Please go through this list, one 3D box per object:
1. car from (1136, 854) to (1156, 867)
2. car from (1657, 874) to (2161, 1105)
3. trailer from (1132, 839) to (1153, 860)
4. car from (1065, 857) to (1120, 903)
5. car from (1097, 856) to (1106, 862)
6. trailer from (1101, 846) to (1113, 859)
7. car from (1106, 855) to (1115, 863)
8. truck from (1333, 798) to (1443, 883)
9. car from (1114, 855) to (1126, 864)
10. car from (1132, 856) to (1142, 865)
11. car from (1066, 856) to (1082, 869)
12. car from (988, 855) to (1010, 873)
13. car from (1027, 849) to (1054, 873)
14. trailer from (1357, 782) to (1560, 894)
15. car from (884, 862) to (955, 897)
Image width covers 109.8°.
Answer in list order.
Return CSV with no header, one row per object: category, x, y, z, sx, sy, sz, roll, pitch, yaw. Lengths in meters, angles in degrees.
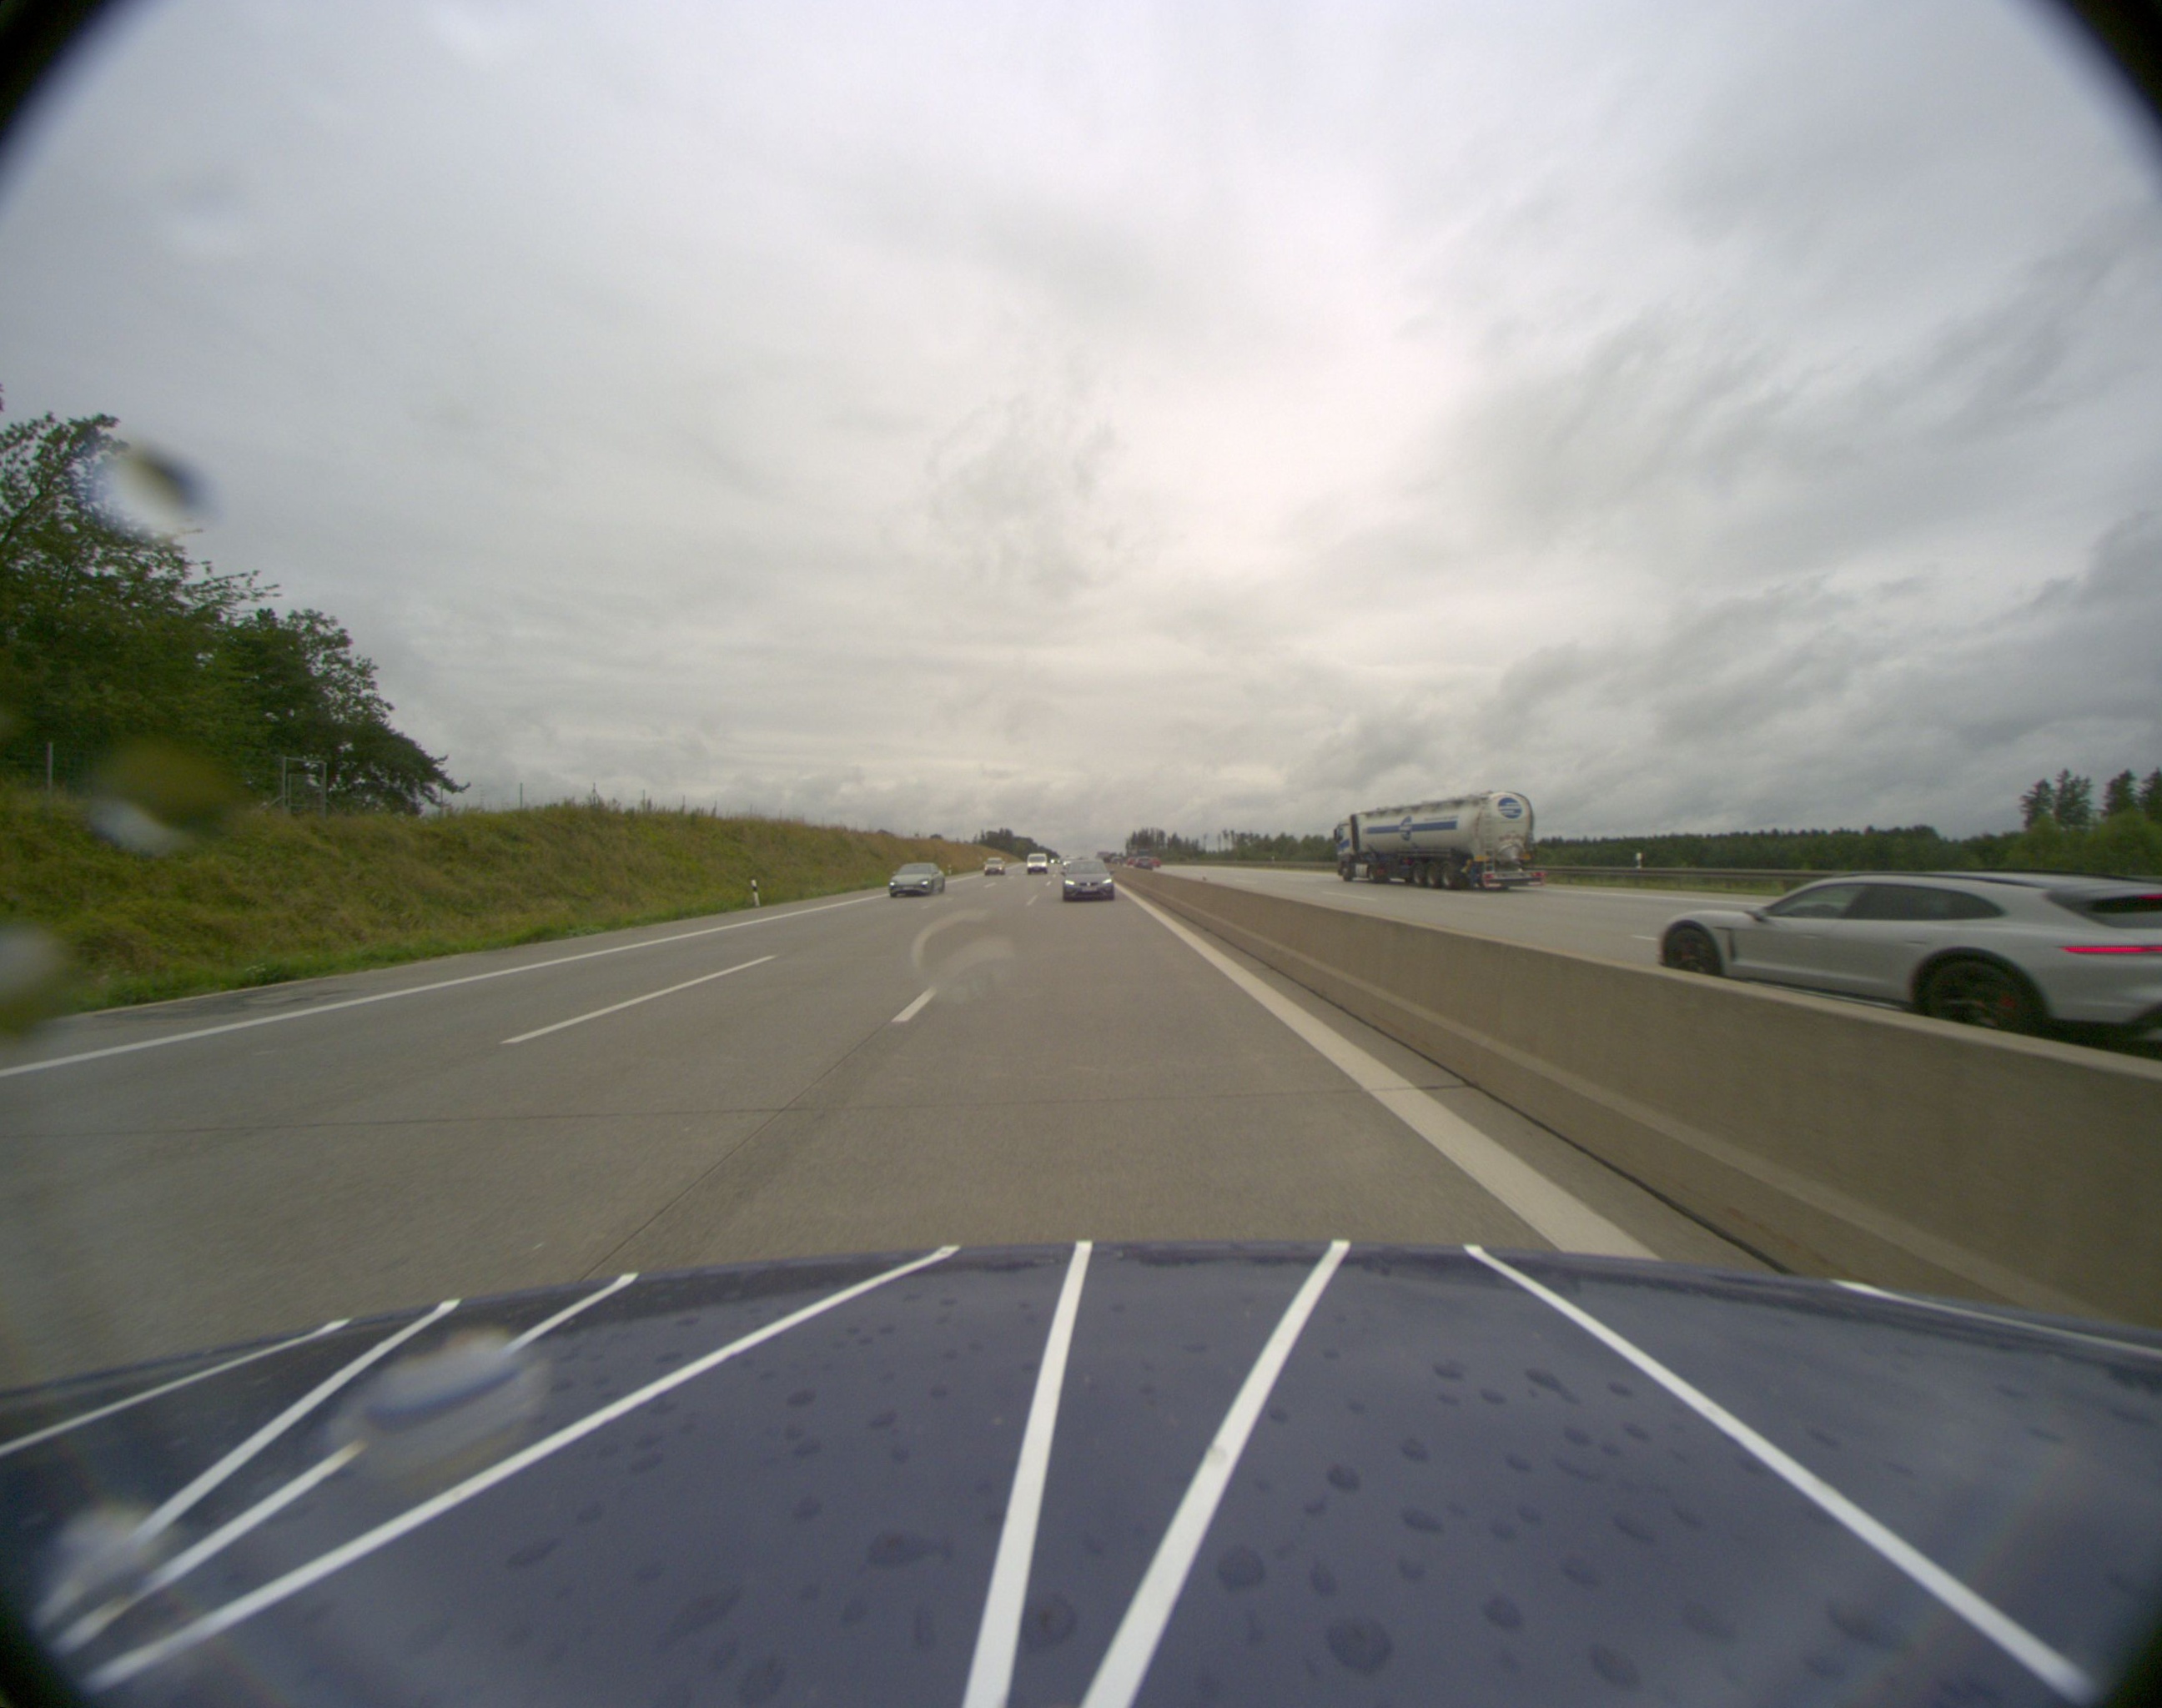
car,7.268,0.783,85.727,1.797,1.408,4.343,-1,-1,-1
car,8.322,0.979,7.231,1.999,1.432,4.768,-3,-1,0
trailer,13.124,-0.844,162.643,2.773,4.256,12.166,-2,-1,-3
car,0.434,0.871,27.536,1.789,1.472,4.571,-1,0,2
car,4.789,1.165,176.591,1.777,1.349,4.366,1,-1,-3
trailer,8.493,-0.529,252.808,2.926,4.192,11.871,1,-1,-3
car,7.649,1.335,199.535,1.999,1.962,5.330,1,-1,-2
truck,15.896,-0.645,39.959,2.754,3.975,6.929,-2,0,-1
car,6.609,0.938,128.306,1.726,1.578,4.971,0,-1,-1
car,10.194,1.118,138.594,1.522,1.499,4.485,0,1,-1
car,-0.899,1.111,100.079,1.998,1.632,5.043,1,-1,0
car,-7.923,0.975,73.884,1.790,1.595,4.570,1,-1,-3
car,-3.790,0.698,72.875,2.042,2.111,6.070,1,-1,2
trailer,15.985,-0.626,33.816,2.766,3.975,12.287,-2,0,0
car,-7.408,1.131,35.351,2.019,1.437,4.746,-3,-1,3
